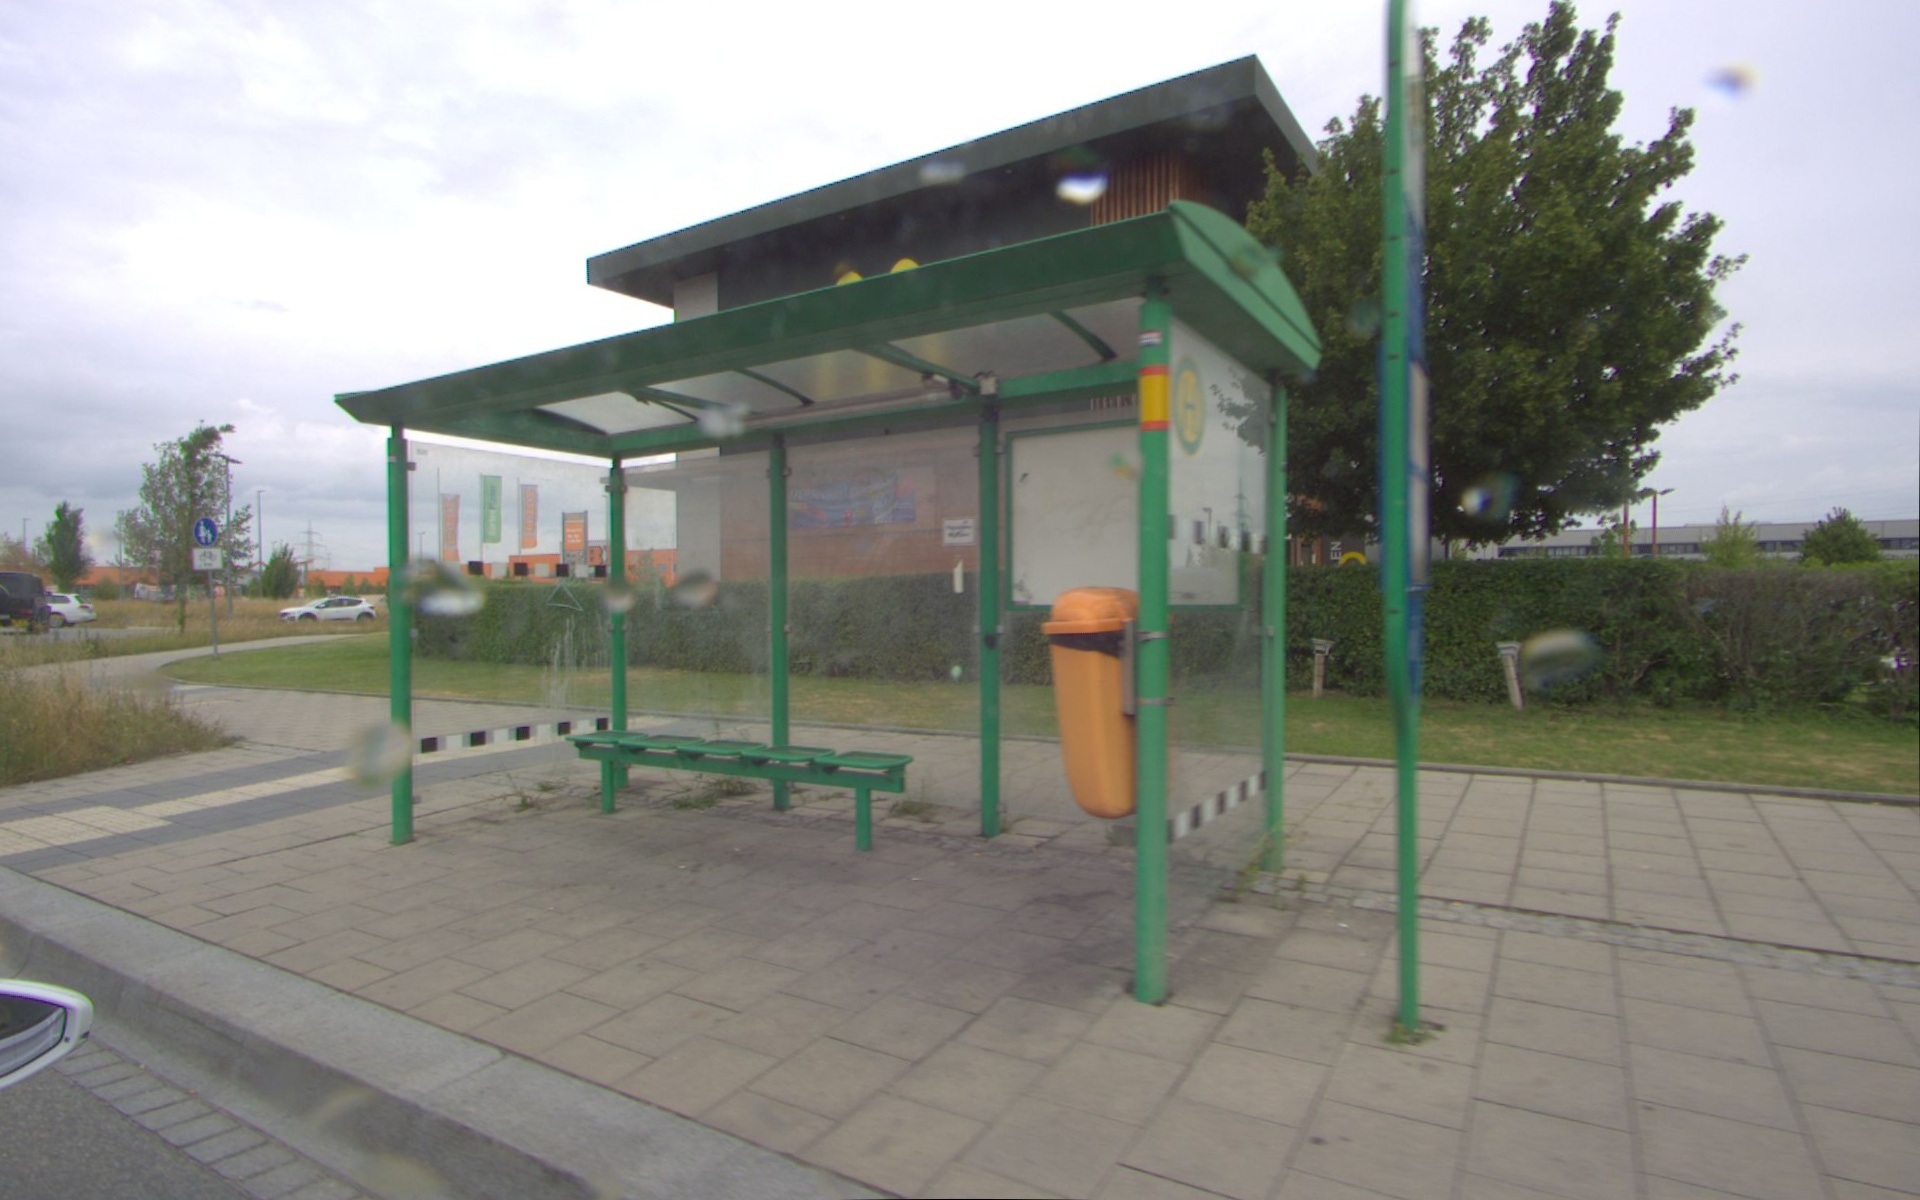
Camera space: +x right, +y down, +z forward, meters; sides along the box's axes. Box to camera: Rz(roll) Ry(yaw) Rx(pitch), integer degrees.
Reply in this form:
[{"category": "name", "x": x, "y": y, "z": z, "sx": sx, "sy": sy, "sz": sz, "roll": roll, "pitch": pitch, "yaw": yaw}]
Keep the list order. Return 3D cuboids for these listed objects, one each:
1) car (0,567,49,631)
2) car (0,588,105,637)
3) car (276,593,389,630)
[{"category": "car", "x": -31.096, "y": -0.102, "z": 32.586, "sx": 2.062, "sy": 1.913, "sz": 4.729, "roll": -1, "pitch": 3, "yaw": -42}, {"category": "car", "x": -38.519, "y": 0.506, "z": 41.251, "sx": 4.709, "sy": 1.913, "sz": 2.071, "roll": 0, "pitch": 2, "yaw": -32}, {"category": "car", "x": -30.640, "y": 0.521, "z": 48.997, "sx": 1.844, "sy": 1.671, "sz": 4.313, "roll": 3, "pitch": 2, "yaw": 35}]
